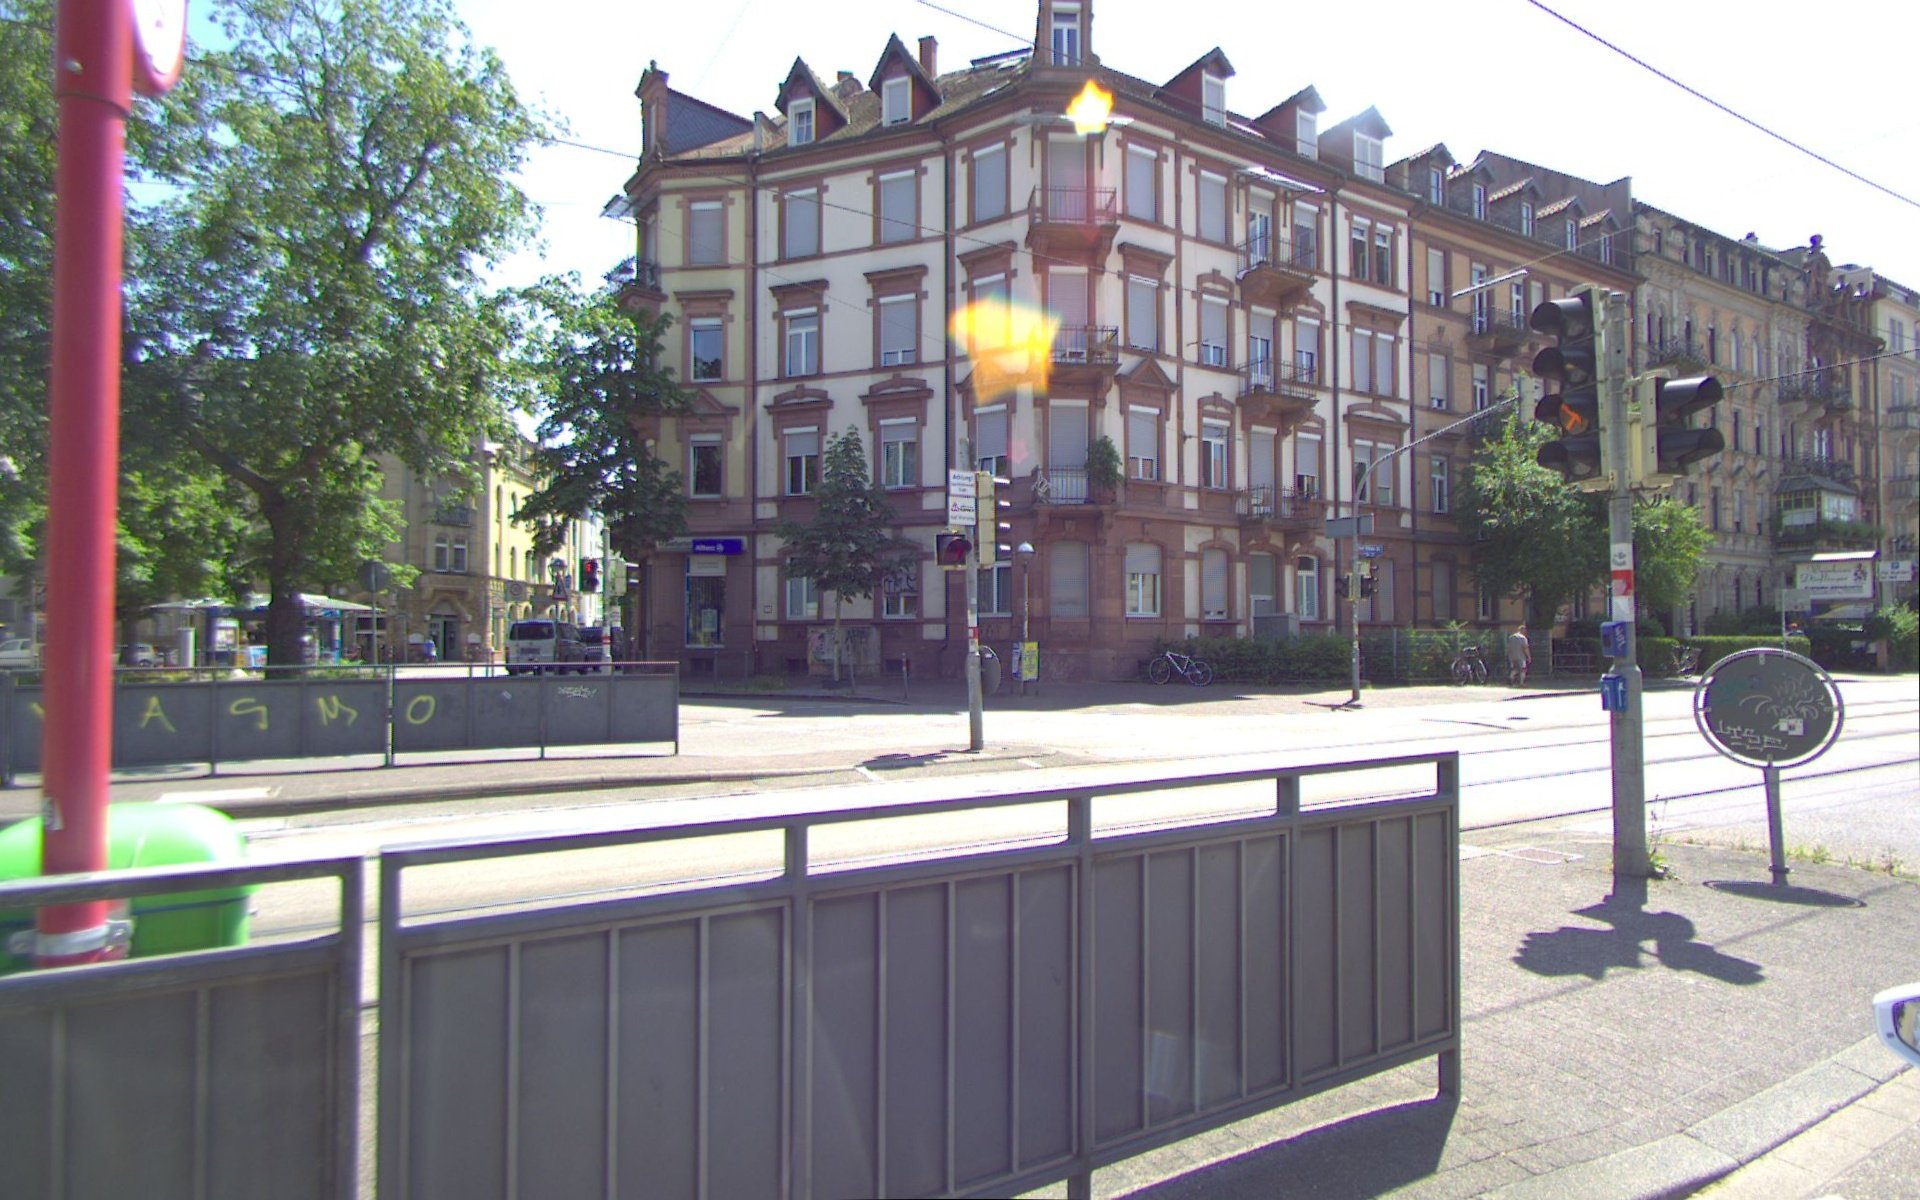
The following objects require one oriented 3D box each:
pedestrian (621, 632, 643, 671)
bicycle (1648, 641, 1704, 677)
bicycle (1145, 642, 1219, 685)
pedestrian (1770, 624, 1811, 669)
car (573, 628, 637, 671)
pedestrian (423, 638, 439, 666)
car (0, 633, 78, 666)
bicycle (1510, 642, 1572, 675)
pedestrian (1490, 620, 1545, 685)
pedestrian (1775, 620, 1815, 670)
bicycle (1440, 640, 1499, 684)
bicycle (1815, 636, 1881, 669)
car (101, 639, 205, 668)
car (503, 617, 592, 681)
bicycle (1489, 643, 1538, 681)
[{"bbox_3d":[-14.082,2.204,43.151,0.729,1.625,0.761,0,-2,-6],"label":"pedestrian"},{"bbox_3d":[22.753,1.861,31.901,1.906,1.108,0.636,1,0,-27],"label":"bicycle"},{"bbox_3d":[5.909,1.682,26.824,1.885,1.122,0.467,0,-2,8],"label":"bicycle"},{"bbox_3d":[32.278,1.807,39.058,0.808,1.722,0.911,0,-2,-3],"label":"pedestrian"},{"bbox_3d":[-15.923,2.214,45.273,1.964,1.833,4.582,0,-2,-10],"label":"car"},{"bbox_3d":[-29.480,2.904,55.978,0.539,1.577,0.501,0,-2,15],"label":"pedestrian"},{"bbox_3d":[-49.110,2.592,52.631,3.929,1.720,1.808,0,-2,-11],"label":"car"},{"bbox_3d":[17.880,1.787,30.938,0.489,1.009,1.640,1,-2,-28],"label":"bicycle"},{"bbox_3d":[15.126,1.425,27.275,0.999,1.722,0.870,1,-2,-24],"label":"pedestrian"},{"bbox_3d":[31.593,1.695,38.021,0.800,1.881,0.879,0,-2,12],"label":"pedestrian"},{"bbox_3d":[14.057,1.704,27.703,1.694,1.184,0.571,1,-2,-27],"label":"bicycle"},{"bbox_3d":[35.156,2.059,39.799,0.562,1.244,1.860,1,0,-32],"label":"bicycle"},{"bbox_3d":[-42.879,2.829,53.424,3.929,1.520,1.691,0,-2,-11],"label":"car"},{"bbox_3d":[-14.400,1.686,35.331,1.964,2.094,4.582,0,-2,-10],"label":"car"},{"bbox_3d":[15.878,1.758,28.807,1.544,1.070,0.457,1,-2,-27],"label":"bicycle"}]
